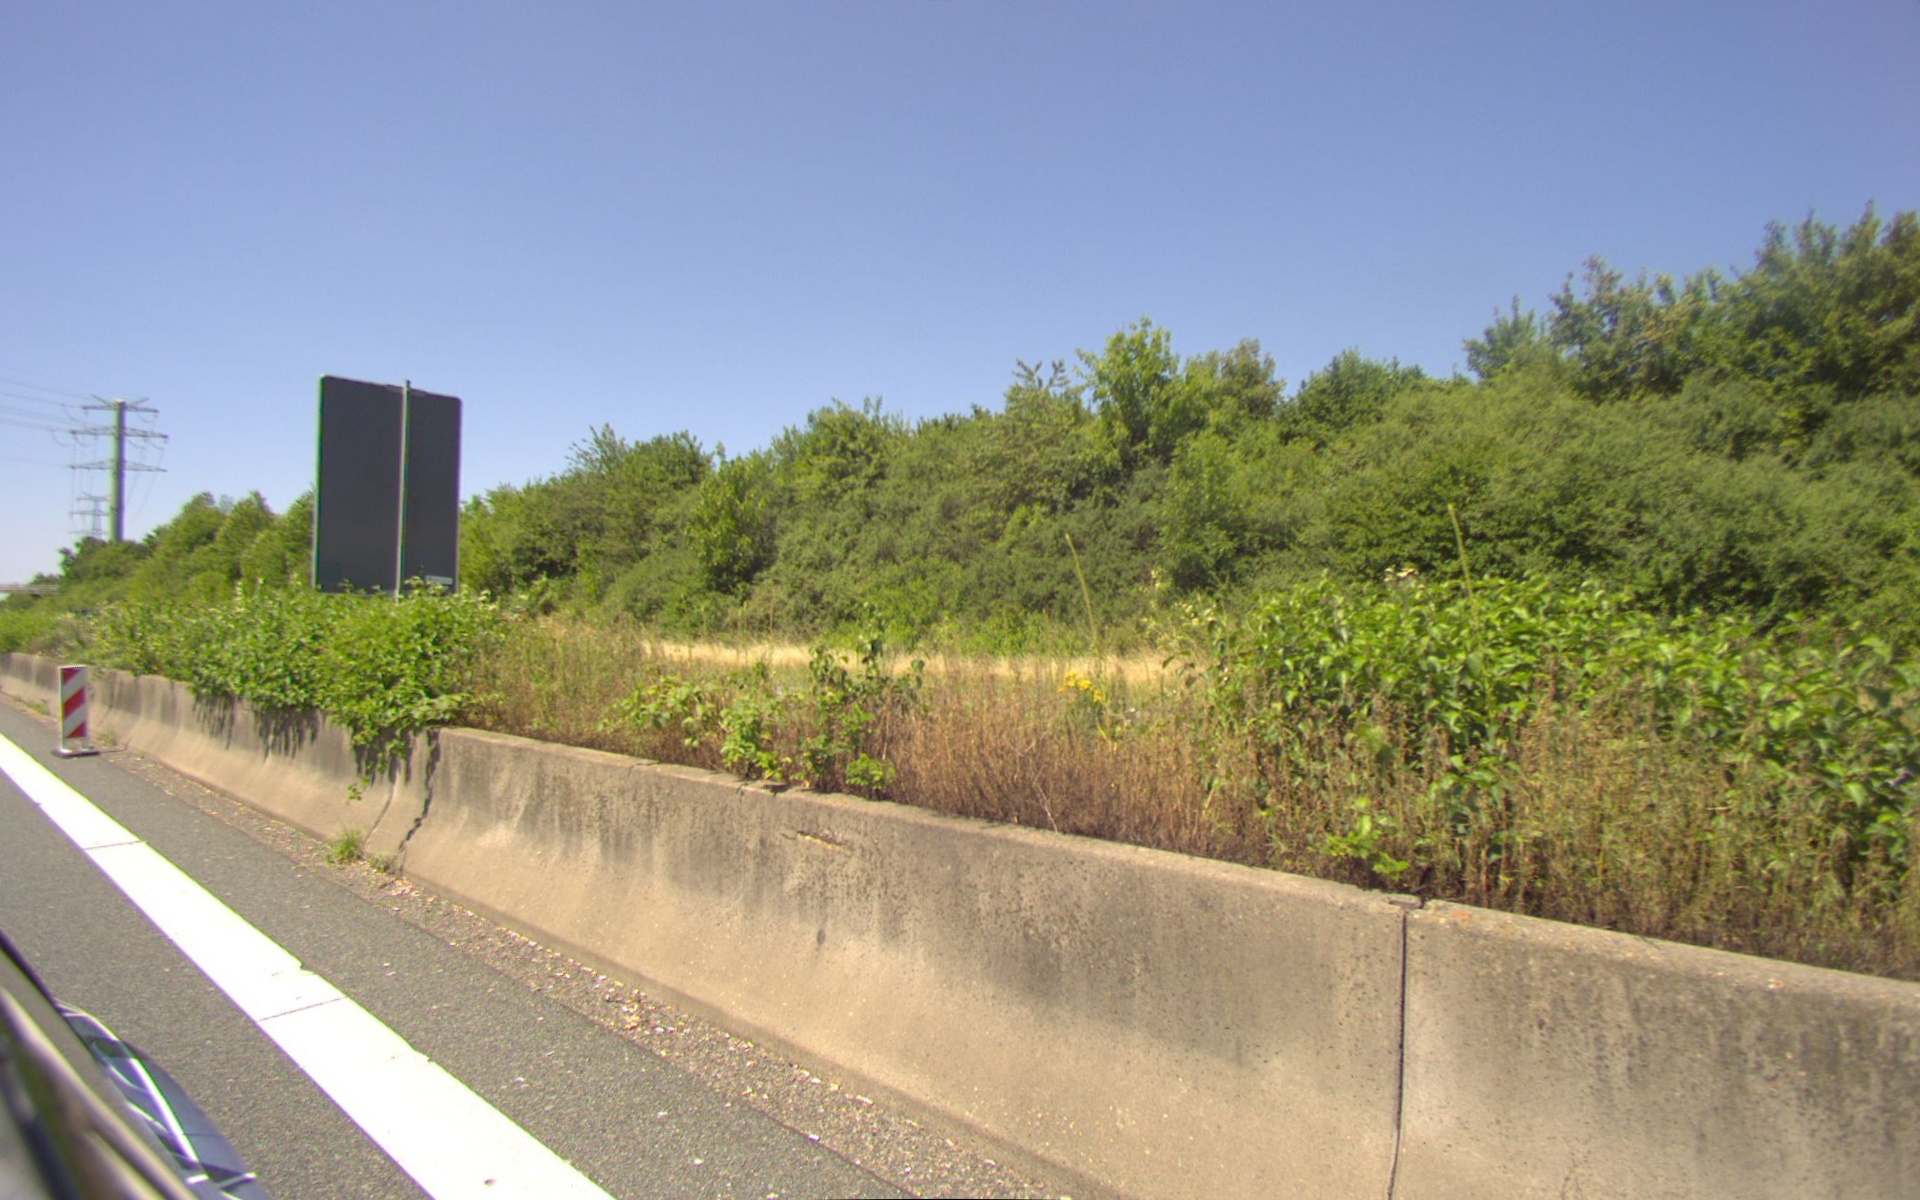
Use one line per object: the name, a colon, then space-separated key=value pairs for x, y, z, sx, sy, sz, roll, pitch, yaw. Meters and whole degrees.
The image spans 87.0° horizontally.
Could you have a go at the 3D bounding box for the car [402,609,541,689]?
car: x=-14.140 y=1.381 z=29.197 sx=4.605 sy=2.112 sz=1.972 roll=-1 pitch=-3 yaw=41
